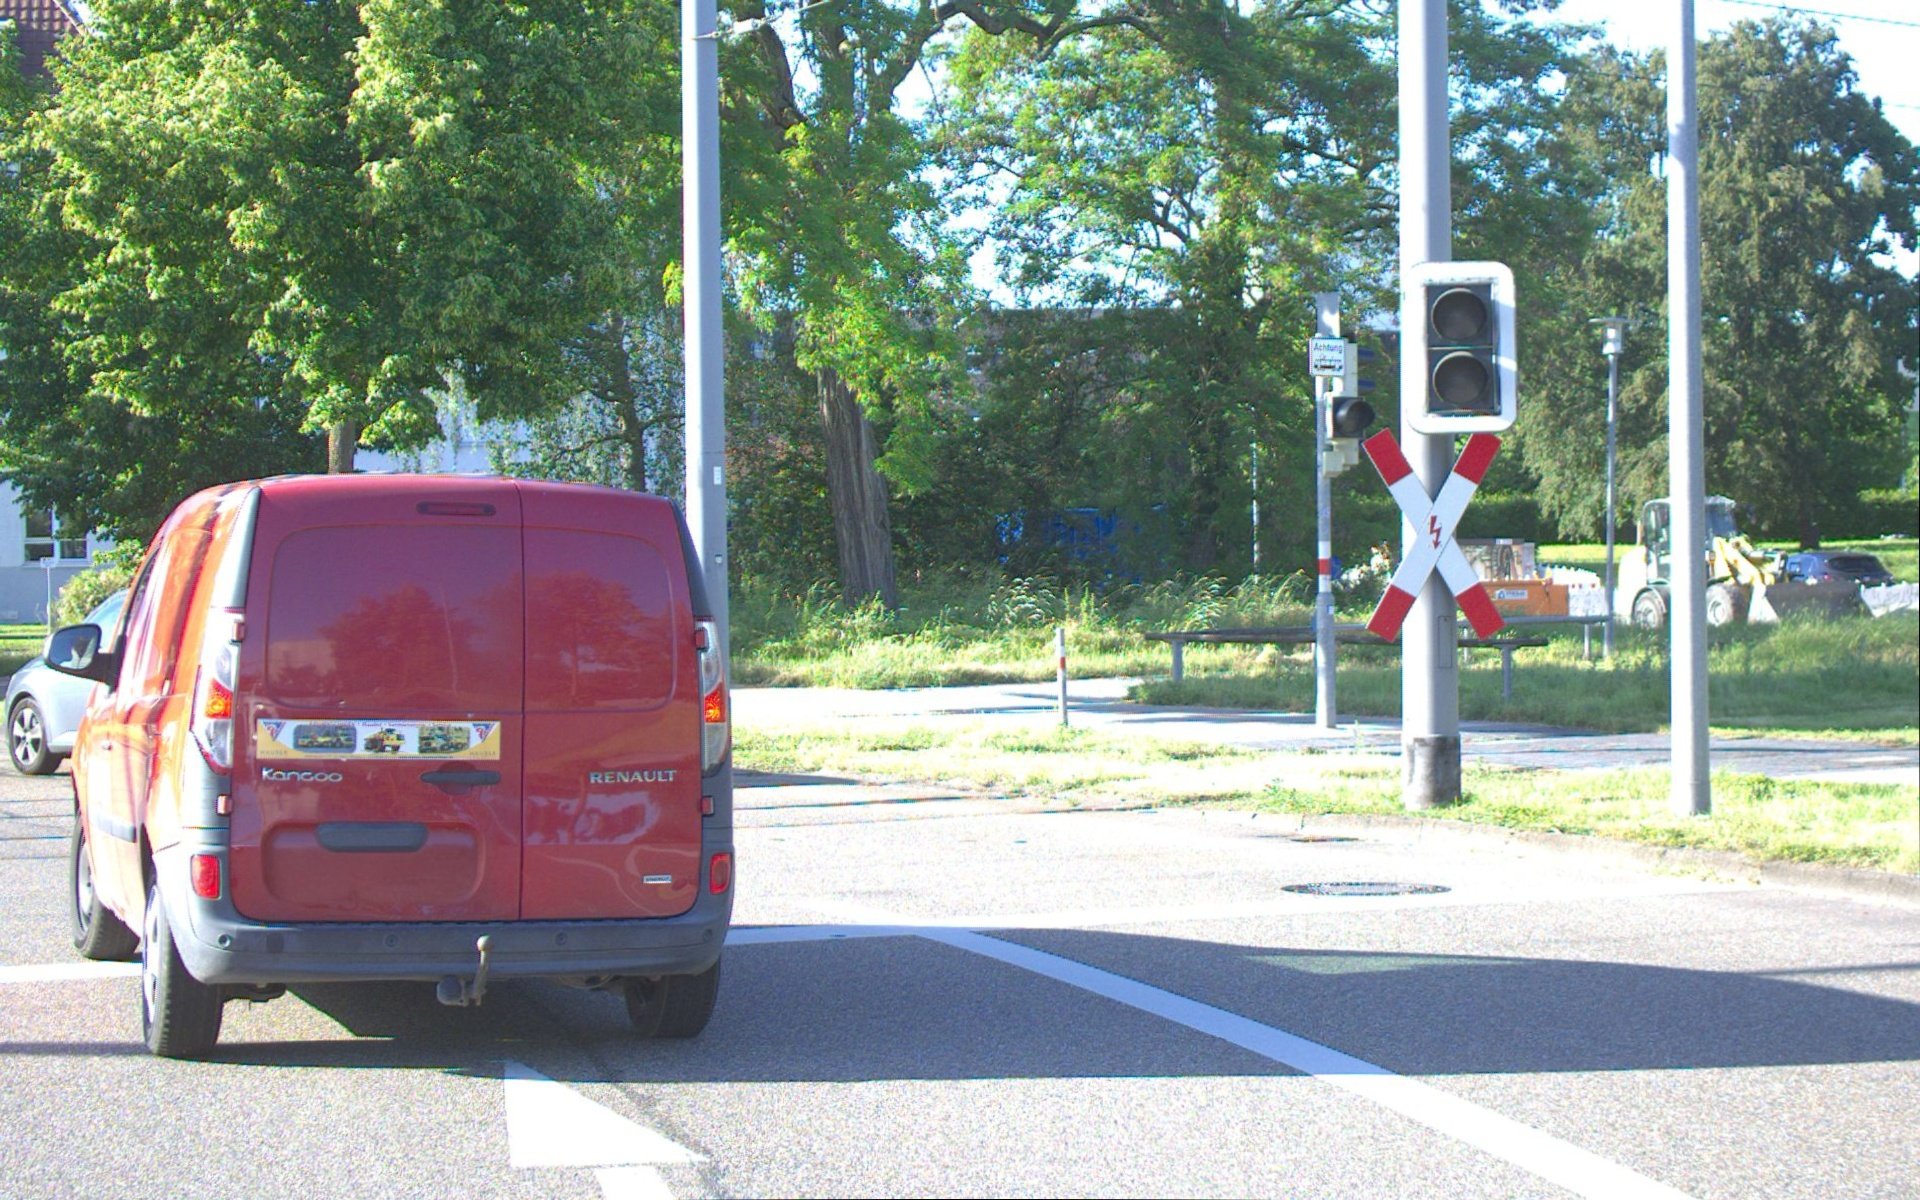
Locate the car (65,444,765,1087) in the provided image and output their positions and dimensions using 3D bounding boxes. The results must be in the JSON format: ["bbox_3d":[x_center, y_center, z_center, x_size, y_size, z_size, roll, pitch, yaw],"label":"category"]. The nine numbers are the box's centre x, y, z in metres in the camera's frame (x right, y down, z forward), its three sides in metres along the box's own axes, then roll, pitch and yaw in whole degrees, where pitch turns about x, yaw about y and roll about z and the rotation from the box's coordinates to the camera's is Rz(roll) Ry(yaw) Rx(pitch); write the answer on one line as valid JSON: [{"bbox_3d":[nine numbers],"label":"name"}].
[{"bbox_3d":[-2.020,0.444,11.744,1.802,1.807,3.811,1,1,-17],"label":"car"}]

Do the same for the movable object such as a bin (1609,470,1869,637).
[{"bbox_3d":[13.651,-0.758,60.556,1.993,2.779,5.049,0,-1,-21],"label":"movable object such as a bin"}]

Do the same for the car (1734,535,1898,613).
[{"bbox_3d":[18.097,-0.526,72.883,1.919,1.552,3.951,0,-1,-10],"label":"car"}]

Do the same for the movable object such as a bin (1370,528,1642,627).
[{"bbox_3d":[11.118,-0.429,70.101,5.004,1.941,2.240,0,-1,-18],"label":"movable object such as a bin"}]

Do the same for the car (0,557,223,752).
[{"bbox_3d":[-7.191,0.425,27.446,1.713,1.431,4.152,0,-1,-24],"label":"car"}]
